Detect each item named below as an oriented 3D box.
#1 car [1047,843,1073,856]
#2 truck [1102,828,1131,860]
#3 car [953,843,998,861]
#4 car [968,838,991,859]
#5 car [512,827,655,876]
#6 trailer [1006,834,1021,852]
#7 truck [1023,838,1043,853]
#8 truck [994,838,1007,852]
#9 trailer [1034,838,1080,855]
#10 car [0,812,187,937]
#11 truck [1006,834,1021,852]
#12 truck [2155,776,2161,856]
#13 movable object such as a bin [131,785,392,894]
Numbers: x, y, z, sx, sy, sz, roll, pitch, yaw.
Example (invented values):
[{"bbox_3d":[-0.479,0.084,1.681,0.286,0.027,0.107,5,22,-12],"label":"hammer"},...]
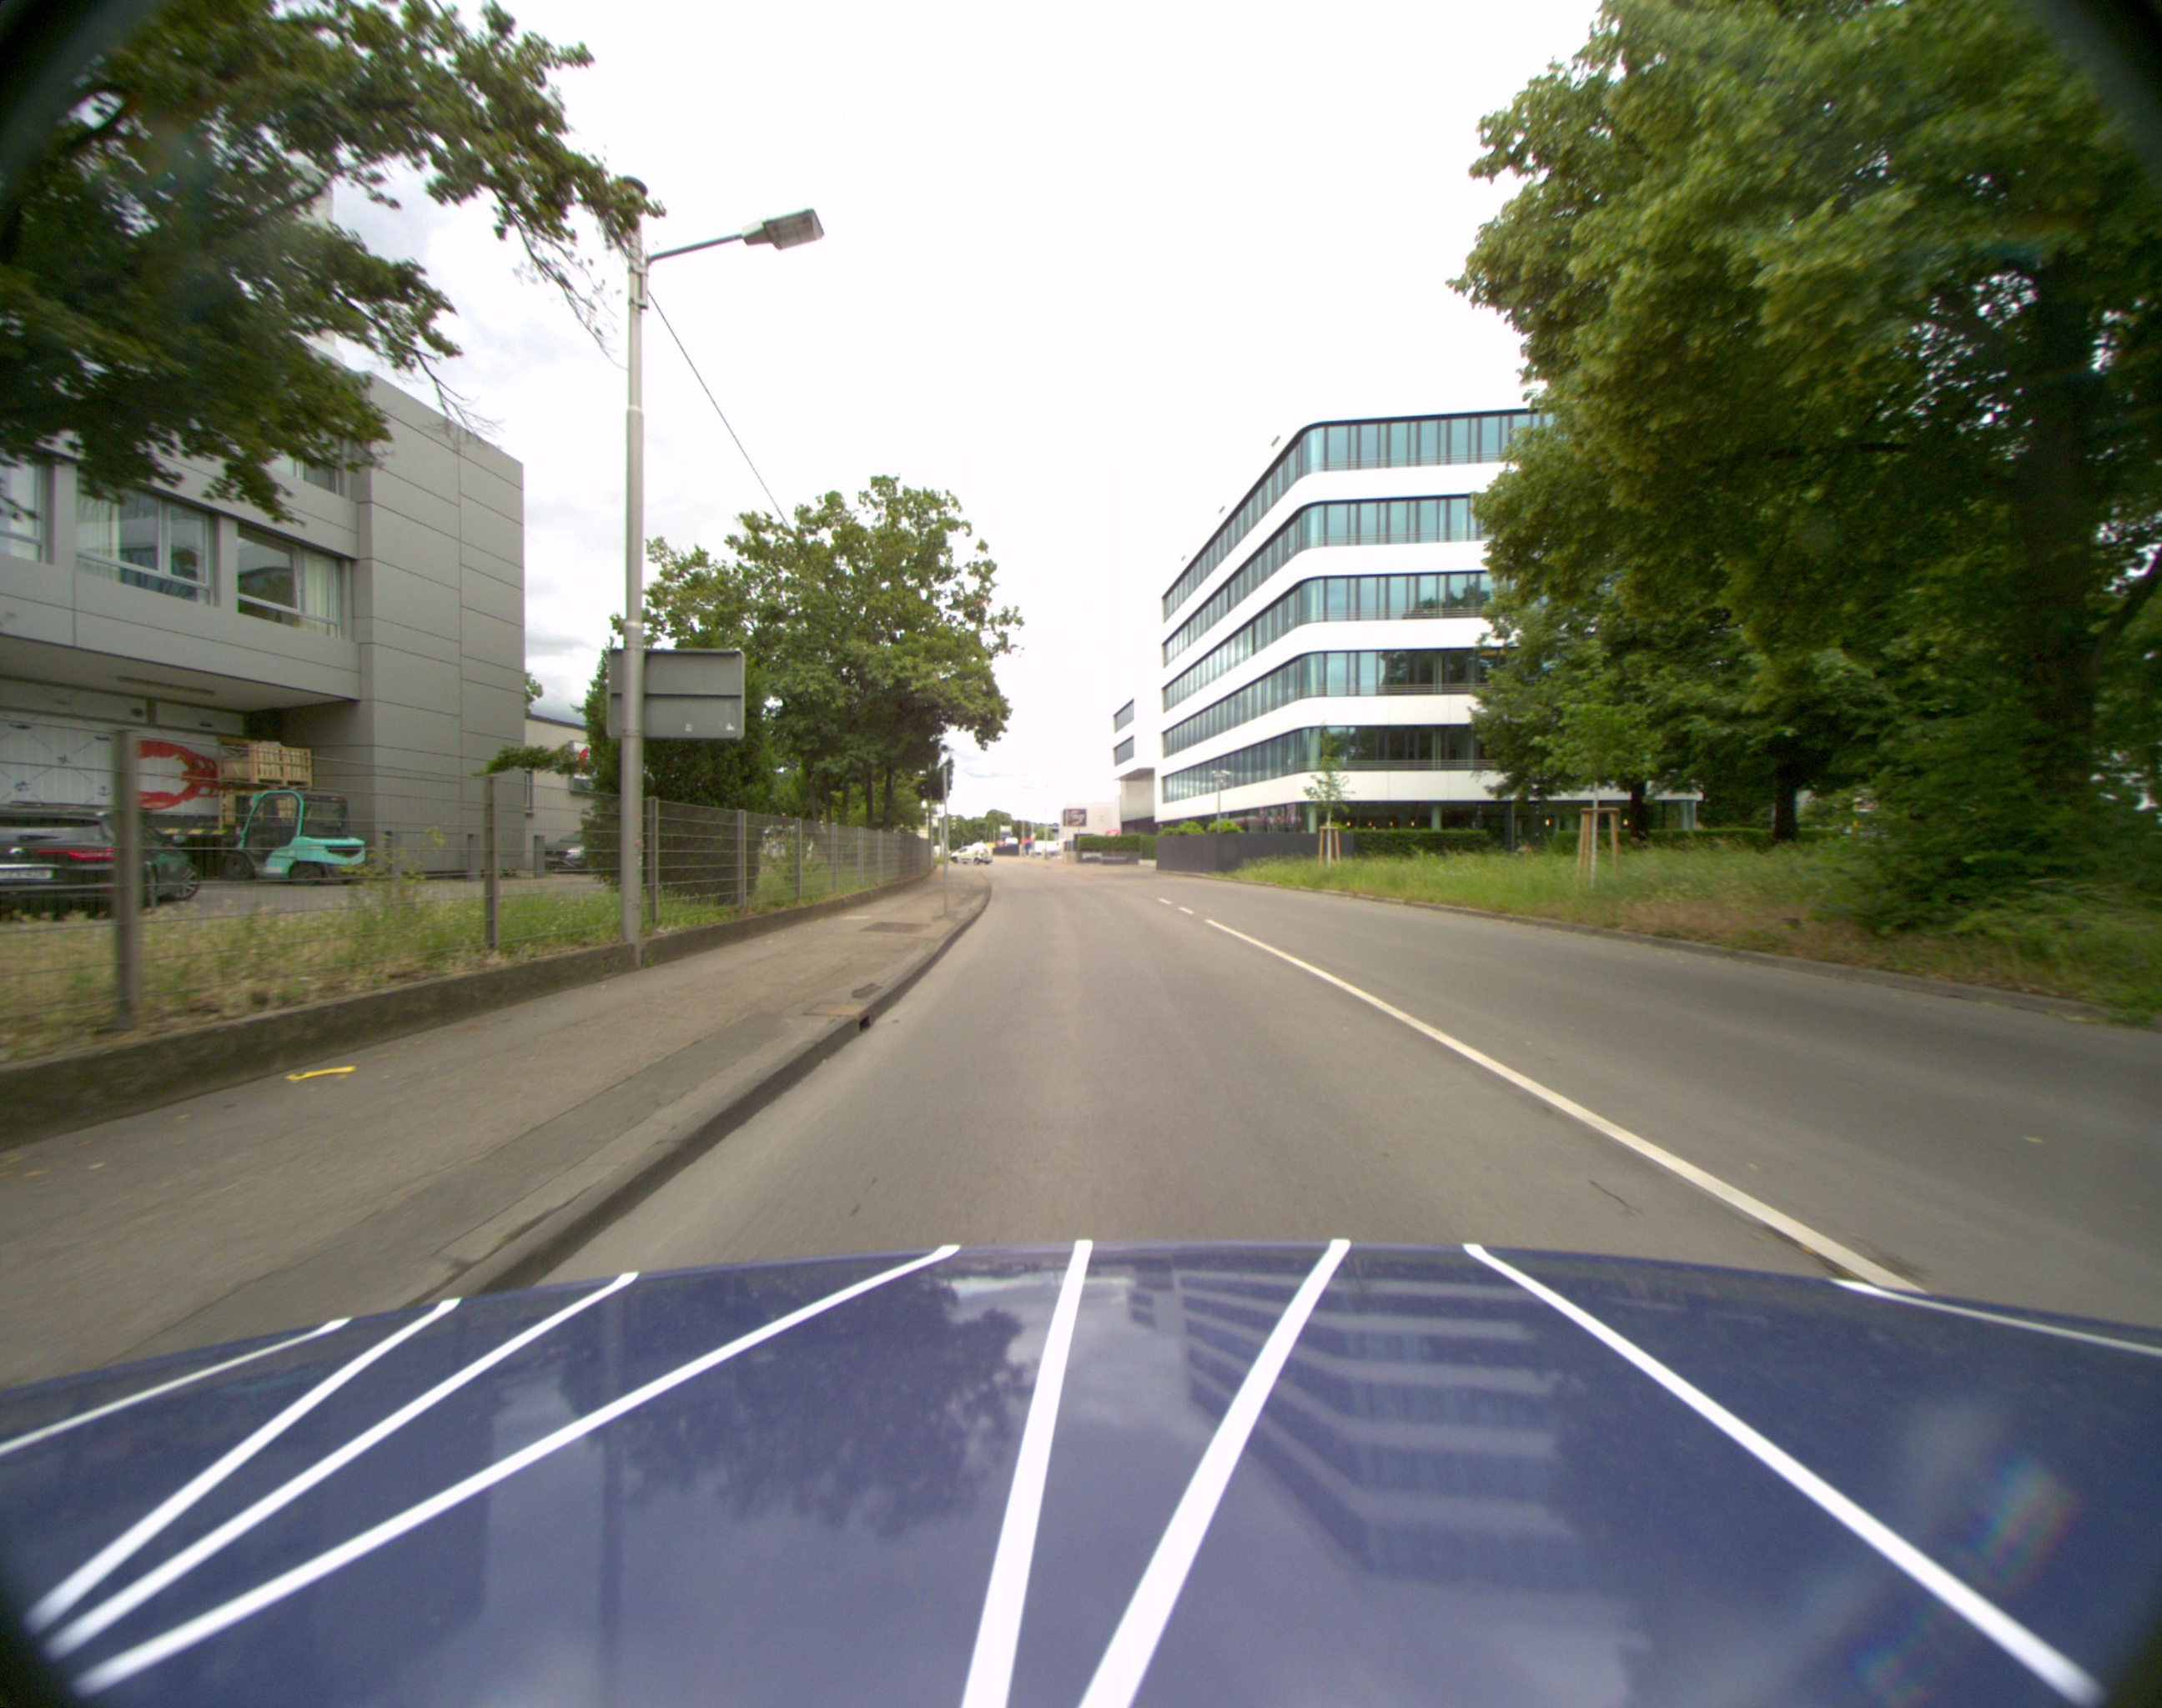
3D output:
[{"bbox_3d":[-4.821,-1.065,172.323,5.426,2.714,2.243,-1,0,9],"label":"car"},{"bbox_3d":[4.717,-1.284,100.067,2.746,4.007,7.099,0,0,11],"label":"truck"},{"bbox_3d":[-10.517,-0.204,75.769,4.194,1.754,1.817,-1,1,31],"label":"car"},{"bbox_3d":[-17.861,-0.947,133.440,3.342,3.586,8.660,0,0,-13],"label":"car"},{"bbox_3d":[-17.761,-0.063,27.431,1.998,1.557,4.443,3,0,4],"label":"car"},{"bbox_3d":[-16.233,-2.489,181.446,3.369,4.136,13.840,2,0,-6],"label":"trailer"},{"bbox_3d":[-12.996,-2.276,205.475,4.882,4.108,3.045,2,0,-9],"label":"truck"},{"bbox_3d":[-22.190,-2.409,209.557,3.024,3.826,5.665,2,0,-9],"label":"truck"},{"bbox_3d":[-6.505,-2.051,205.175,12.029,4.108,3.050,2,0,9],"label":"trailer"},{"bbox_3d":[-14.233,0.184,10.613,4.678,1.465,2.004,2,1,43],"label":"car"},{"bbox_3d":[-15.534,-2.476,174.486,3.369,4.136,5.624,2,0,-6],"label":"truck"},{"bbox_3d":[34.592,-1.202,18.713,2.979,2.507,10.256,0,0,9],"label":"truck"},{"bbox_3d":[-18.553,-0.331,17.340,3.996,2.292,1.952,1,1,3],"label":"movable object such as a bin"}]
